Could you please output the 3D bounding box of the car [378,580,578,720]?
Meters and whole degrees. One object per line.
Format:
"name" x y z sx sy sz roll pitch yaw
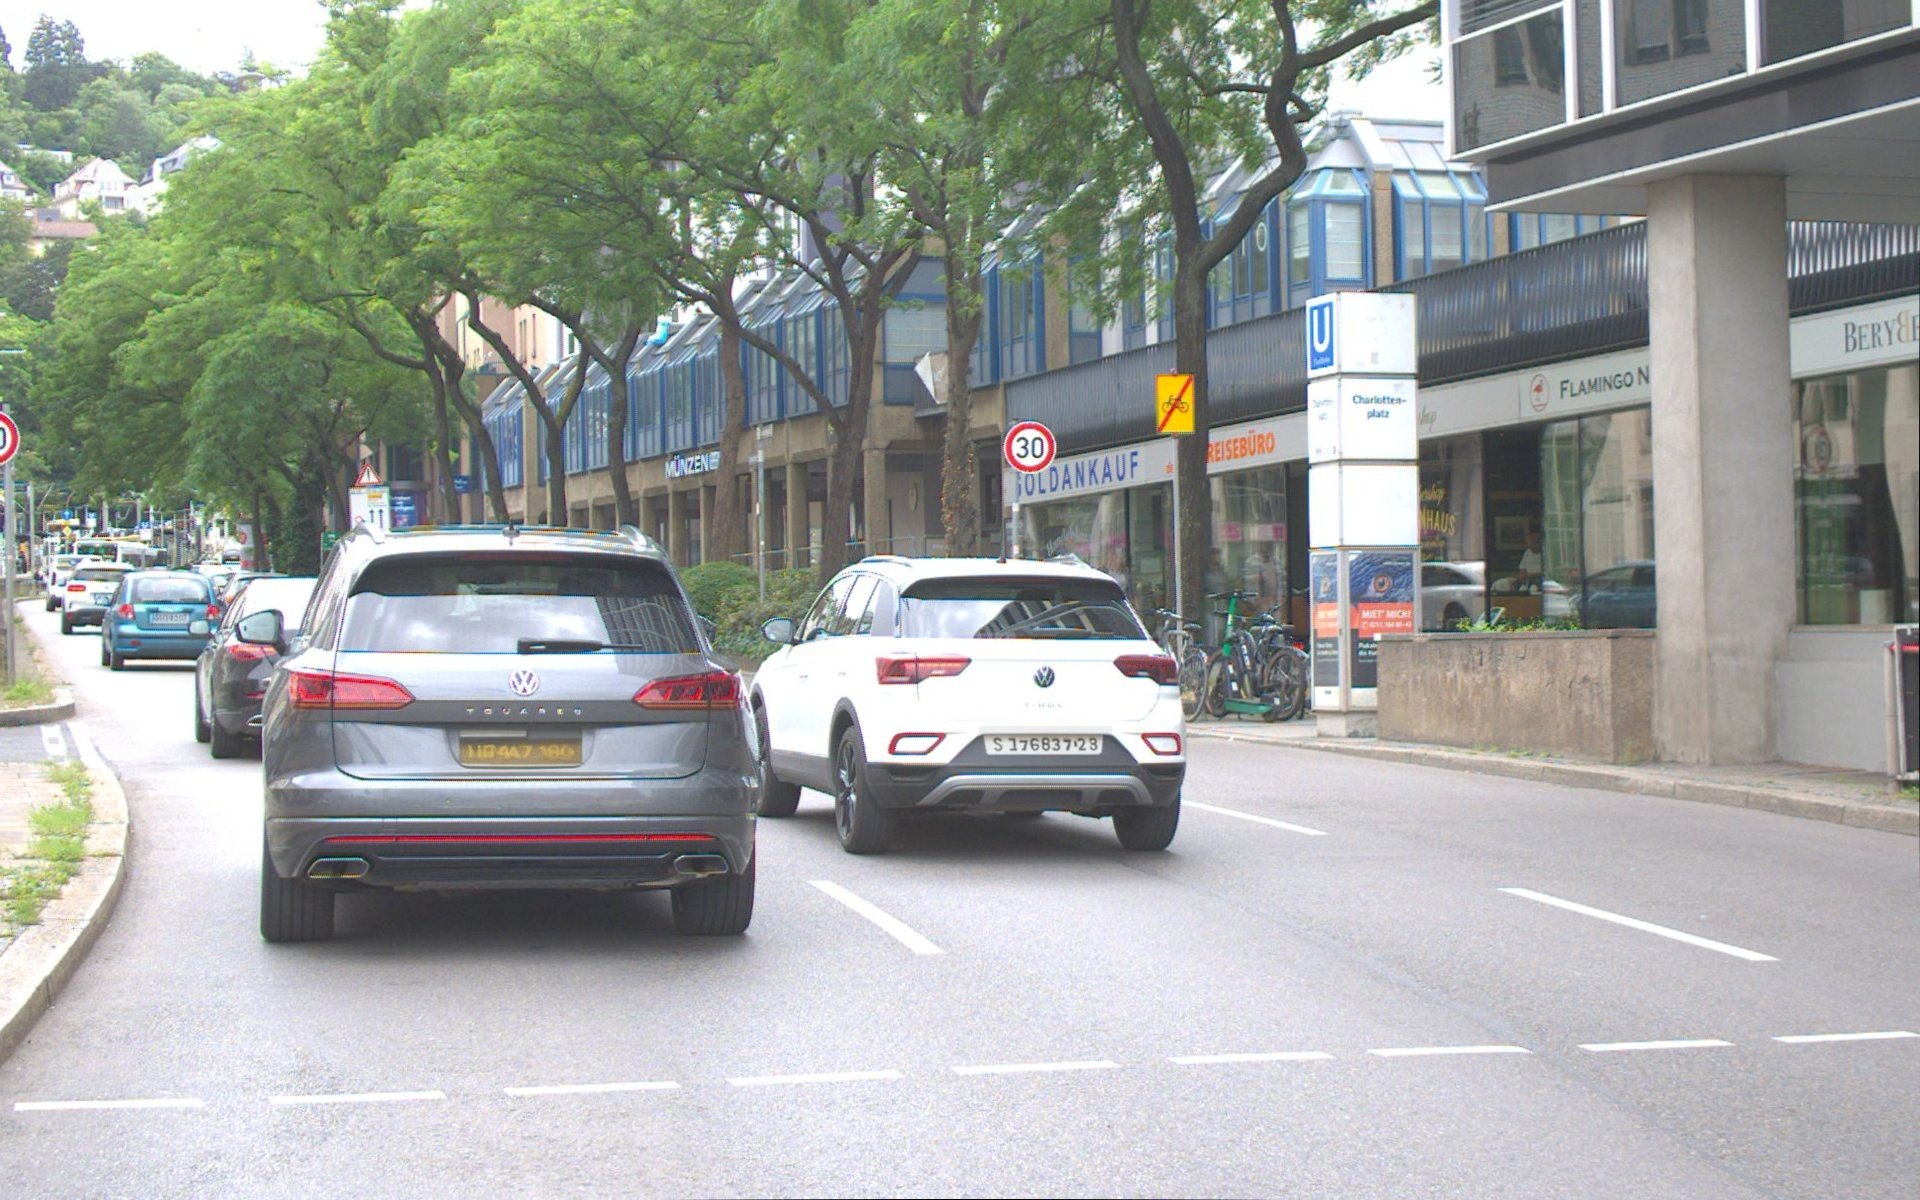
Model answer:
"car" -5.643 0.534 39.874 1.833 1.427 4.149 0 2 -14

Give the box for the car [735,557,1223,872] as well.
"car" -0.015 0.549 19.201 1.797 1.540 3.937 0 1 -14

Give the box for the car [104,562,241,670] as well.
"car" -11.829 0.220 51.512 1.831 1.512 3.768 -2 1 -15

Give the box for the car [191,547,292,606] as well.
"car" -18.468 -0.606 88.303 2.055 1.413 4.335 -2 1 -18

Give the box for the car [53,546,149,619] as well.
"car" -19.476 -0.401 77.829 1.831 1.561 3.768 -2 1 -18

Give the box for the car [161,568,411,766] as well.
"car" -5.411 0.487 27.821 1.833 1.390 4.149 0 2 -10

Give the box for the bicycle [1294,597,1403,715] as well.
"bicycle" 3.862 0.545 34.302 0.489 1.129 1.689 -1 0 -15

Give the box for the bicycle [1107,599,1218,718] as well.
"bicycle" 1.995 0.565 34.056 0.489 1.129 1.844 -1 0 -16

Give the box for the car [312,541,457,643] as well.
"car" -9.113 -0.133 54.242 1.831 1.512 3.768 -2 1 -16

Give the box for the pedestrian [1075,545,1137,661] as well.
"pedestrian" 2.079 0.035 49.014 0.595 1.623 0.757 -1 1 -21

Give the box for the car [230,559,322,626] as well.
"car" -14.580 -0.171 73.420 1.831 1.358 3.768 -2 1 -10

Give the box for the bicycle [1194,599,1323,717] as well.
"bicycle" 2.957 0.559 34.233 0.489 1.129 1.888 -1 0 -22

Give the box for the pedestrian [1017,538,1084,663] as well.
"pedestrian" 1.277 -0.001 48.762 0.595 1.748 0.941 -1 1 -21

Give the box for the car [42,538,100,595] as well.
"car" -30.837 -1.153 119.294 1.831 1.868 4.872 -2 1 -14

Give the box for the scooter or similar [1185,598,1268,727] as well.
"scooter or similar" 2.615 0.604 33.789 0.305 1.247 0.997 -1 0 -29

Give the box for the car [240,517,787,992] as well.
"car" -2.030 0.533 14.840 1.969 1.690 4.226 -2 1 -11

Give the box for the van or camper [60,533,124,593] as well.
"van or camper" -46.725 -2.004 184.974 2.627 3.168 5.804 -1 1 -21
